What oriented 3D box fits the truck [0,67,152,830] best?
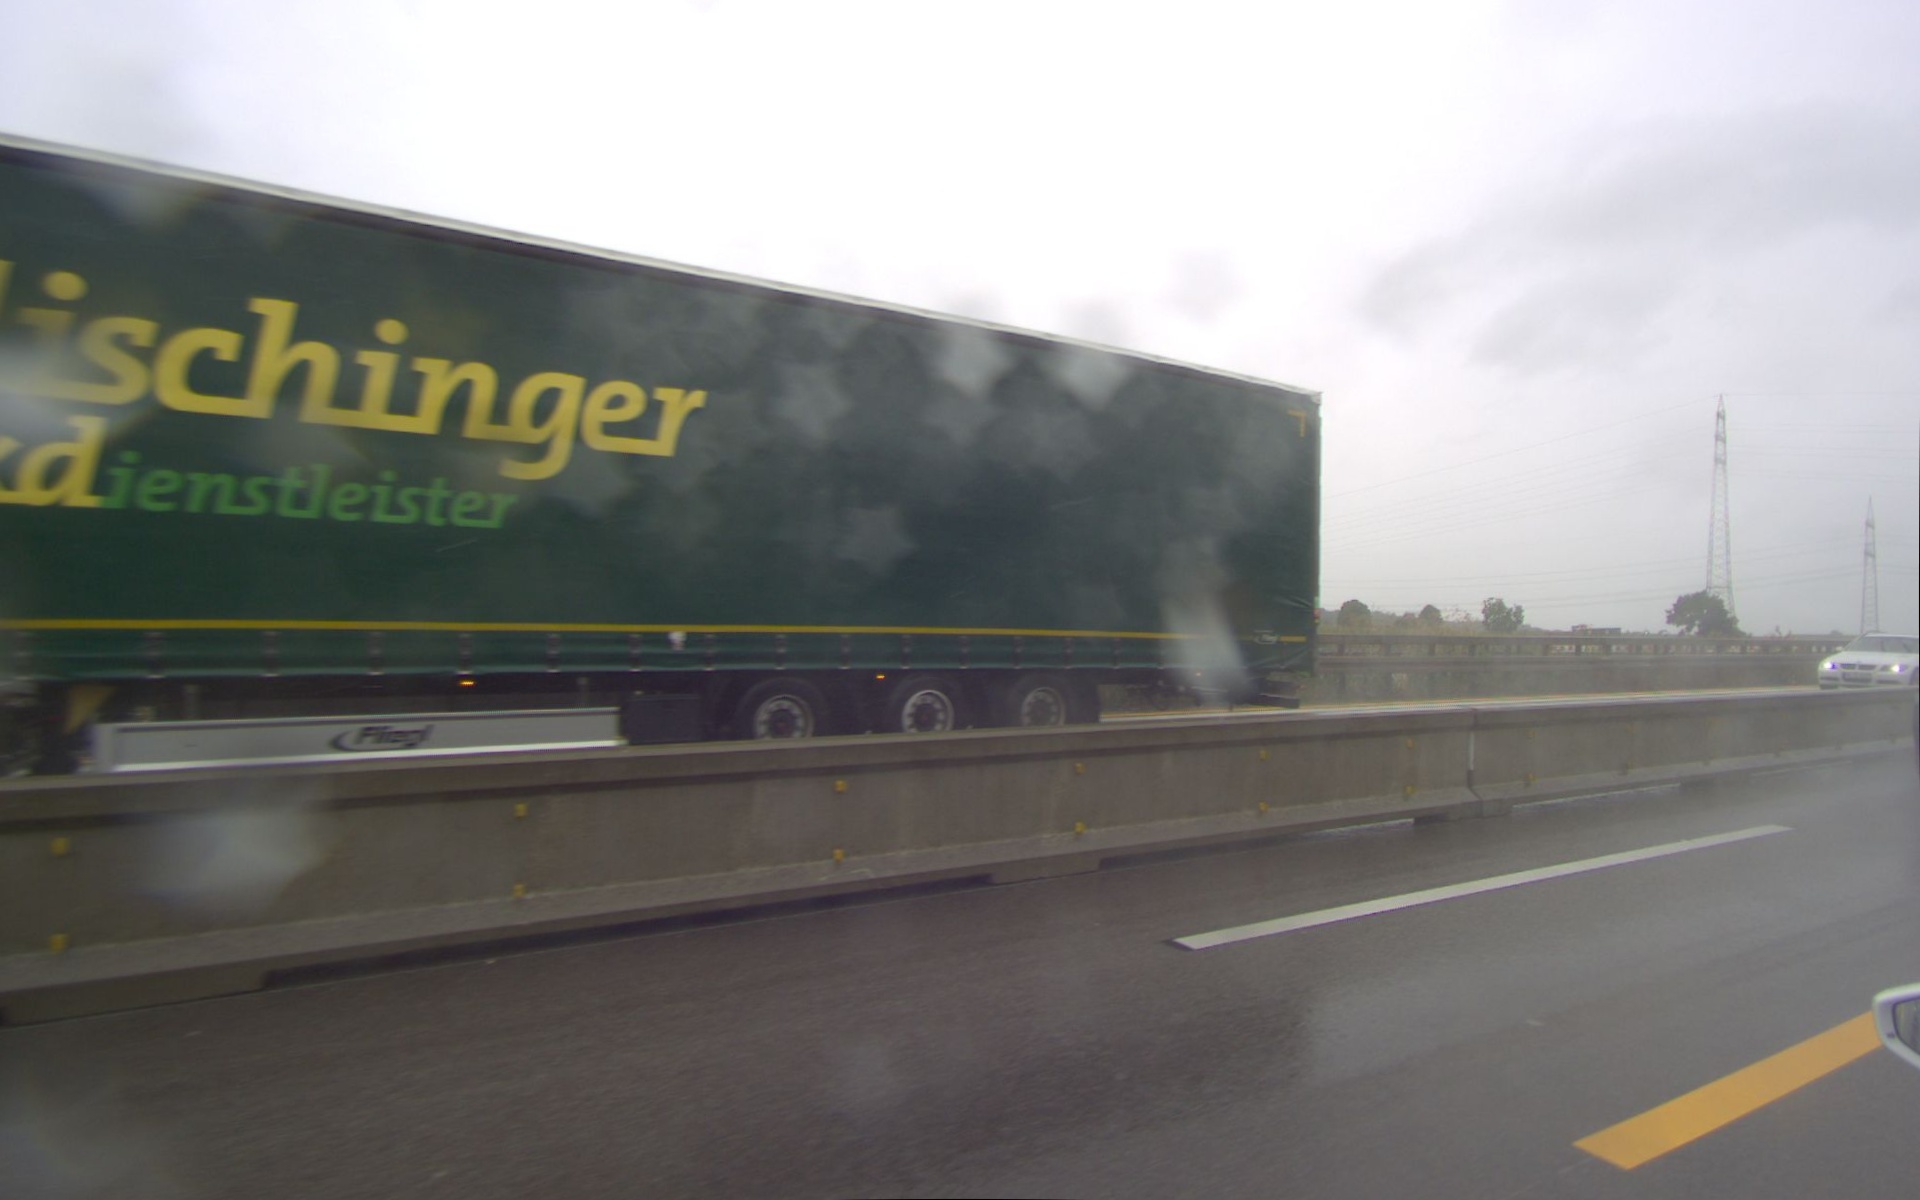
[{"bbox_3d":[-8.732,-0.953,5.540,6.215,4.447,2.596,1,0,-30],"label":"truck"}]

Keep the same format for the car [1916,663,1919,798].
[{"bbox_3d":[10.976,1.069,9.580,4.795,1.619,1.690,3,-1,-34],"label":"car"}]

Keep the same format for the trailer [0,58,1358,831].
[{"bbox_3d":[-1.784,-0.786,9.575,13.391,4.516,2.569,2,0,-30],"label":"trailer"}]

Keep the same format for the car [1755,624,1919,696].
[{"bbox_3d":[20.660,1.347,23.206,5.373,1.457,1.719,2,0,-30],"label":"car"}]

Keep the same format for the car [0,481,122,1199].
[{"bbox_3d":[-4.027,0.471,0.861,4.737,1.548,1.930,2,0,-29],"label":"car"}]
